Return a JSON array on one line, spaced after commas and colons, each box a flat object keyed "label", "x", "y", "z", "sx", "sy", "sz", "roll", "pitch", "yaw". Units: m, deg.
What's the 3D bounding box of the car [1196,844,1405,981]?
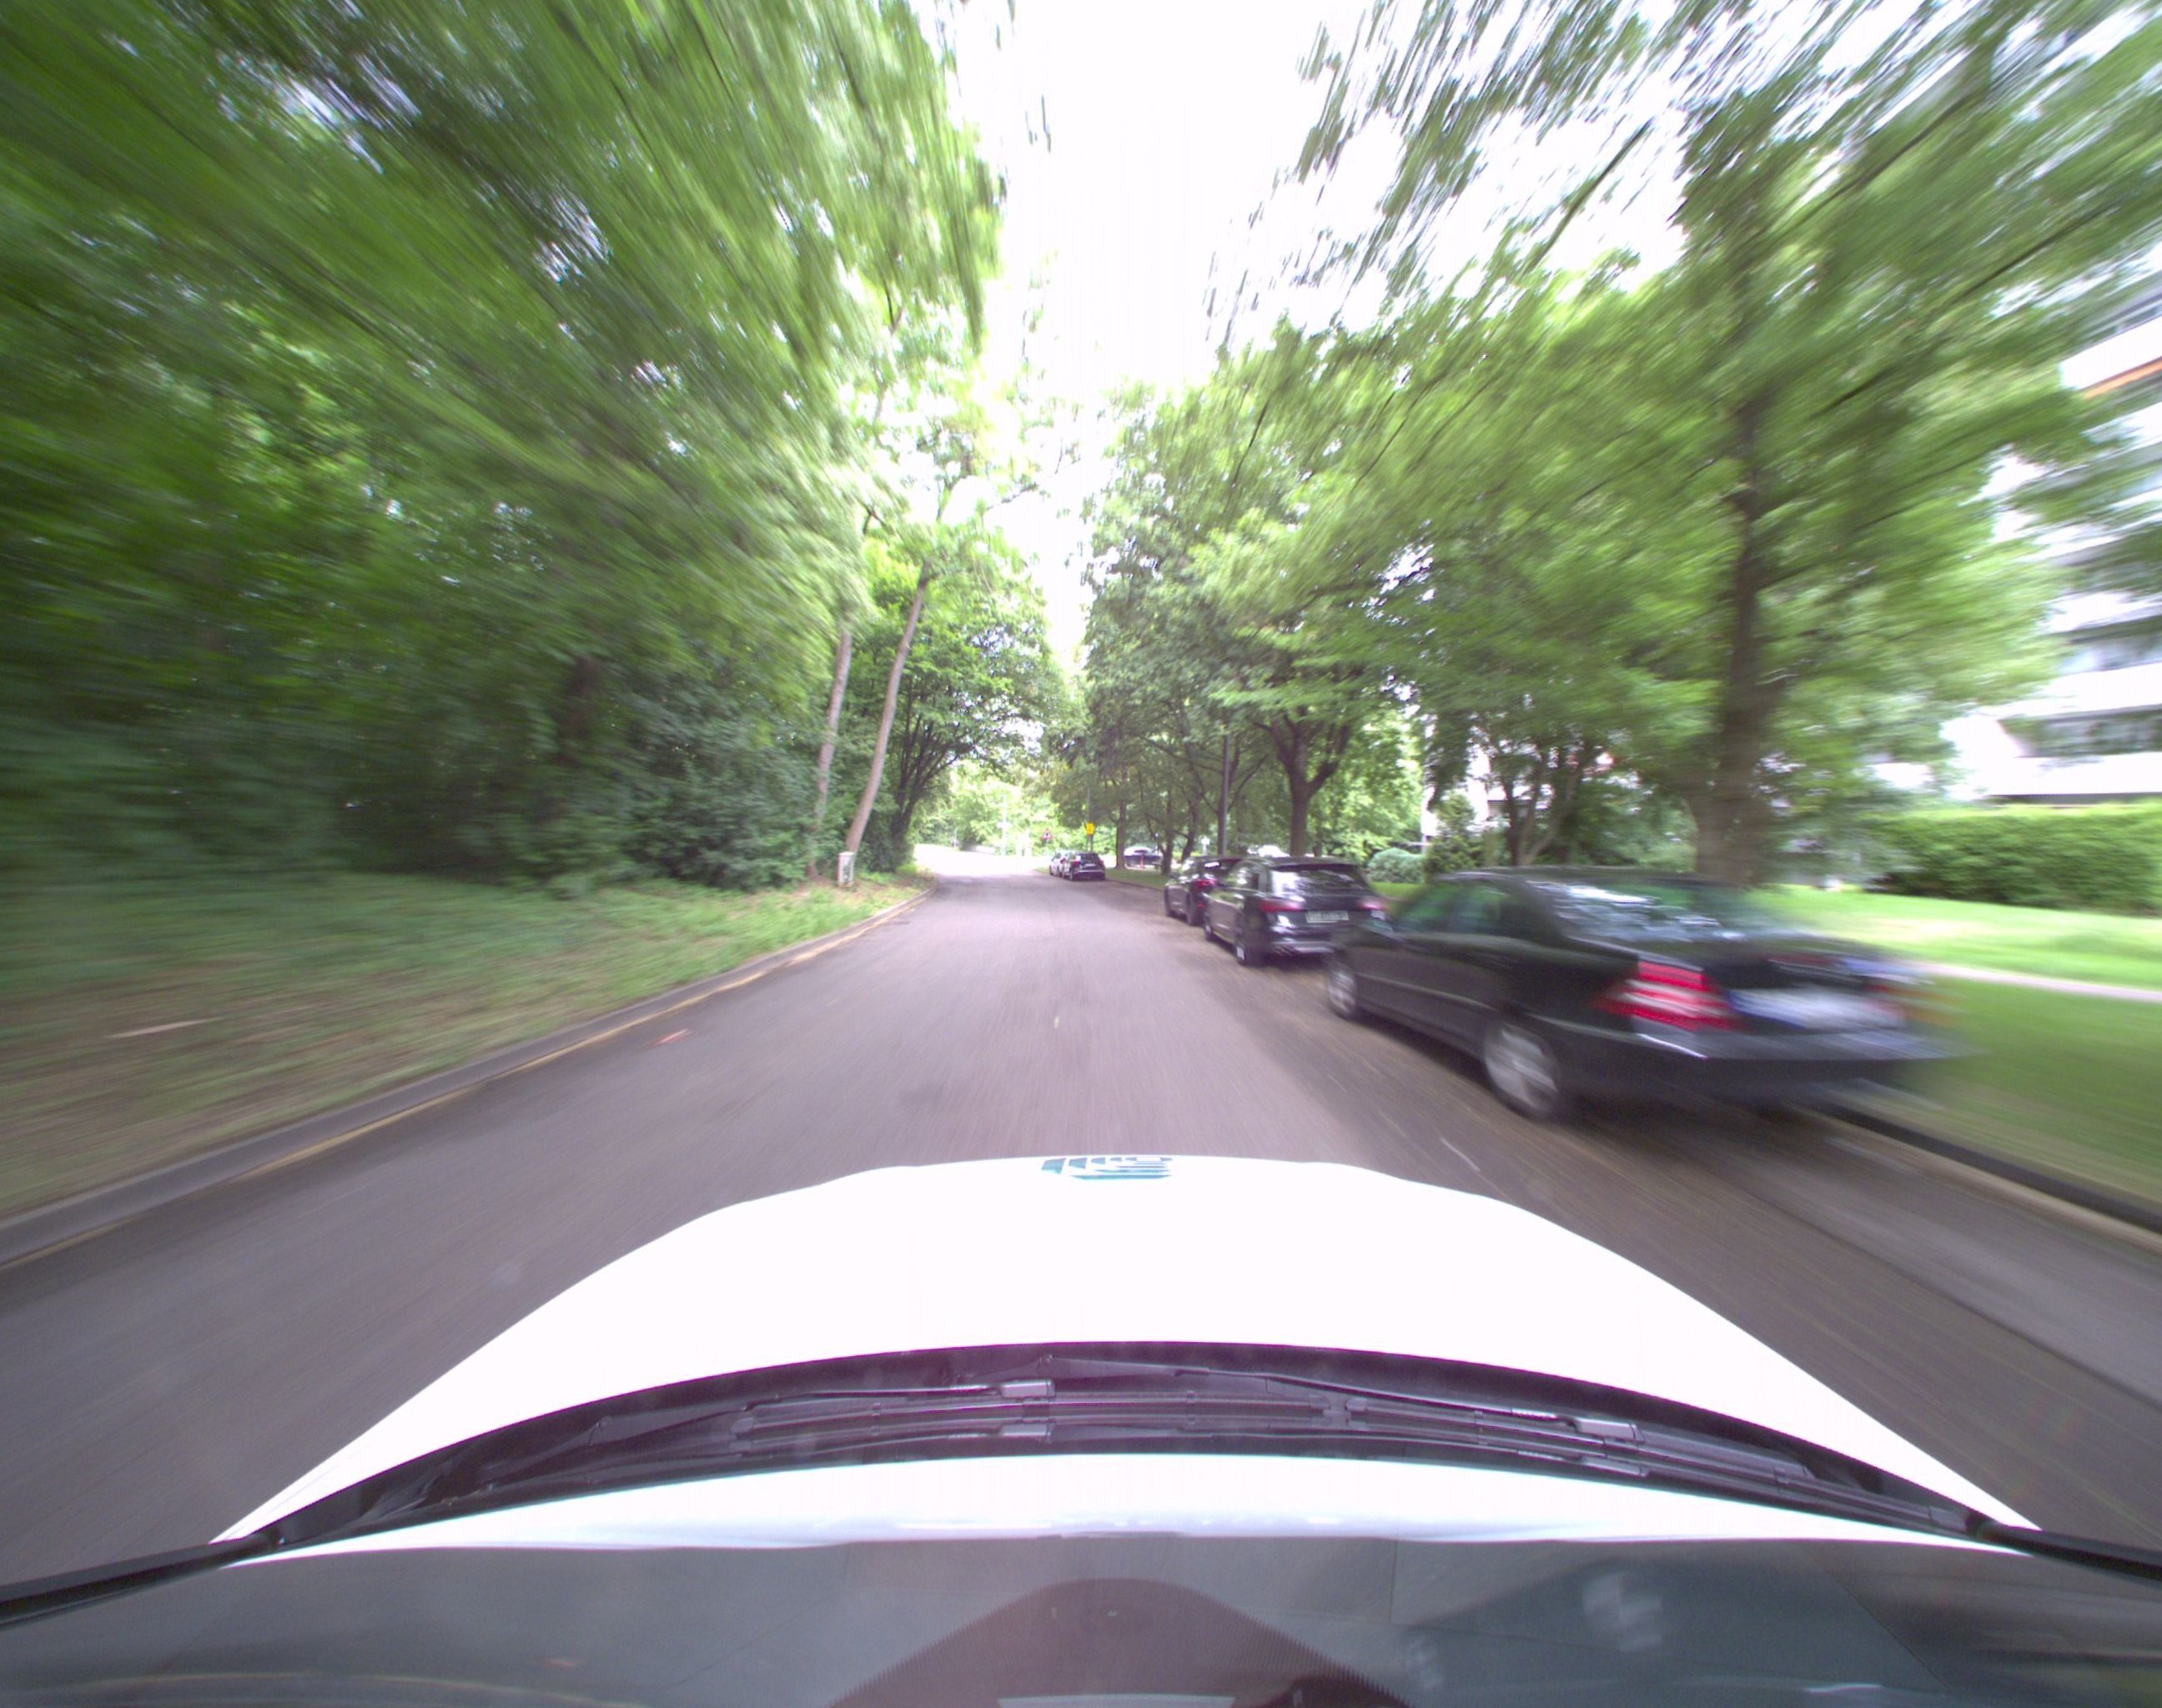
[{"label": "car", "x": 2.971, "y": 0.680, "z": 12.174, "sx": 1.907, "sy": 1.611, "sz": 4.735, "roll": 1, "pitch": 1, "yaw": 1}]

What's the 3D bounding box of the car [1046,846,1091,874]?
[{"label": "car", "x": -0.764, "y": 0.312, "z": 47.471, "sx": 1.776, "sy": 1.522, "sz": 3.763, "roll": 1, "pitch": 1, "yaw": -14}]

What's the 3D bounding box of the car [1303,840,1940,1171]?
[{"label": "car", "x": 3.117, "y": 0.654, "z": 5.919, "sx": 1.586, "sy": 1.465, "sz": 4.311, "roll": -1, "pitch": 1, "yaw": -4}]

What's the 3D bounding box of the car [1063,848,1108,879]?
[{"label": "car", "x": 0.189, "y": 0.460, "z": 43.169, "sx": 1.773, "sy": 1.522, "sz": 4.171, "roll": 1, "pitch": 1, "yaw": -9}]

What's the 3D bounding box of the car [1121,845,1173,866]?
[{"label": "car", "x": 5.543, "y": 0.139, "z": 68.884, "sx": 4.211, "sy": 1.685, "sz": 1.798, "roll": 1, "pitch": 1, "yaw": -3}]

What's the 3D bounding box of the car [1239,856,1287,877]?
[{"label": "car", "x": 14.832, "y": 0.980, "z": 66.532, "sx": 3.504, "sy": 1.570, "sz": 1.833, "roll": 1, "pitch": 1, "yaw": 1}]

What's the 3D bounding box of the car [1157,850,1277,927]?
[{"label": "car", "x": 2.840, "y": 0.663, "z": 17.789, "sx": 1.679, "sy": 1.464, "sz": 3.892, "roll": 1, "pitch": 1, "yaw": -5}]

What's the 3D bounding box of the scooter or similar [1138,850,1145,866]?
[{"label": "scooter or similar", "x": 4.840, "y": 0.311, "z": 65.065, "sx": 0.282, "sy": 1.286, "sz": 1.105, "roll": 1, "pitch": 1, "yaw": -9}]

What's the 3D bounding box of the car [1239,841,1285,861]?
[{"label": "car", "x": 18.964, "y": -0.294, "z": 85.425, "sx": 4.201, "sy": 2.013, "sz": 1.996, "roll": 1, "pitch": 1, "yaw": -6}]

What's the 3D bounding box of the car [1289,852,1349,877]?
[{"label": "car", "x": 19.599, "y": 0.859, "z": 67.078, "sx": 4.385, "sy": 1.848, "sz": 1.831, "roll": 1, "pitch": 1, "yaw": -3}]
